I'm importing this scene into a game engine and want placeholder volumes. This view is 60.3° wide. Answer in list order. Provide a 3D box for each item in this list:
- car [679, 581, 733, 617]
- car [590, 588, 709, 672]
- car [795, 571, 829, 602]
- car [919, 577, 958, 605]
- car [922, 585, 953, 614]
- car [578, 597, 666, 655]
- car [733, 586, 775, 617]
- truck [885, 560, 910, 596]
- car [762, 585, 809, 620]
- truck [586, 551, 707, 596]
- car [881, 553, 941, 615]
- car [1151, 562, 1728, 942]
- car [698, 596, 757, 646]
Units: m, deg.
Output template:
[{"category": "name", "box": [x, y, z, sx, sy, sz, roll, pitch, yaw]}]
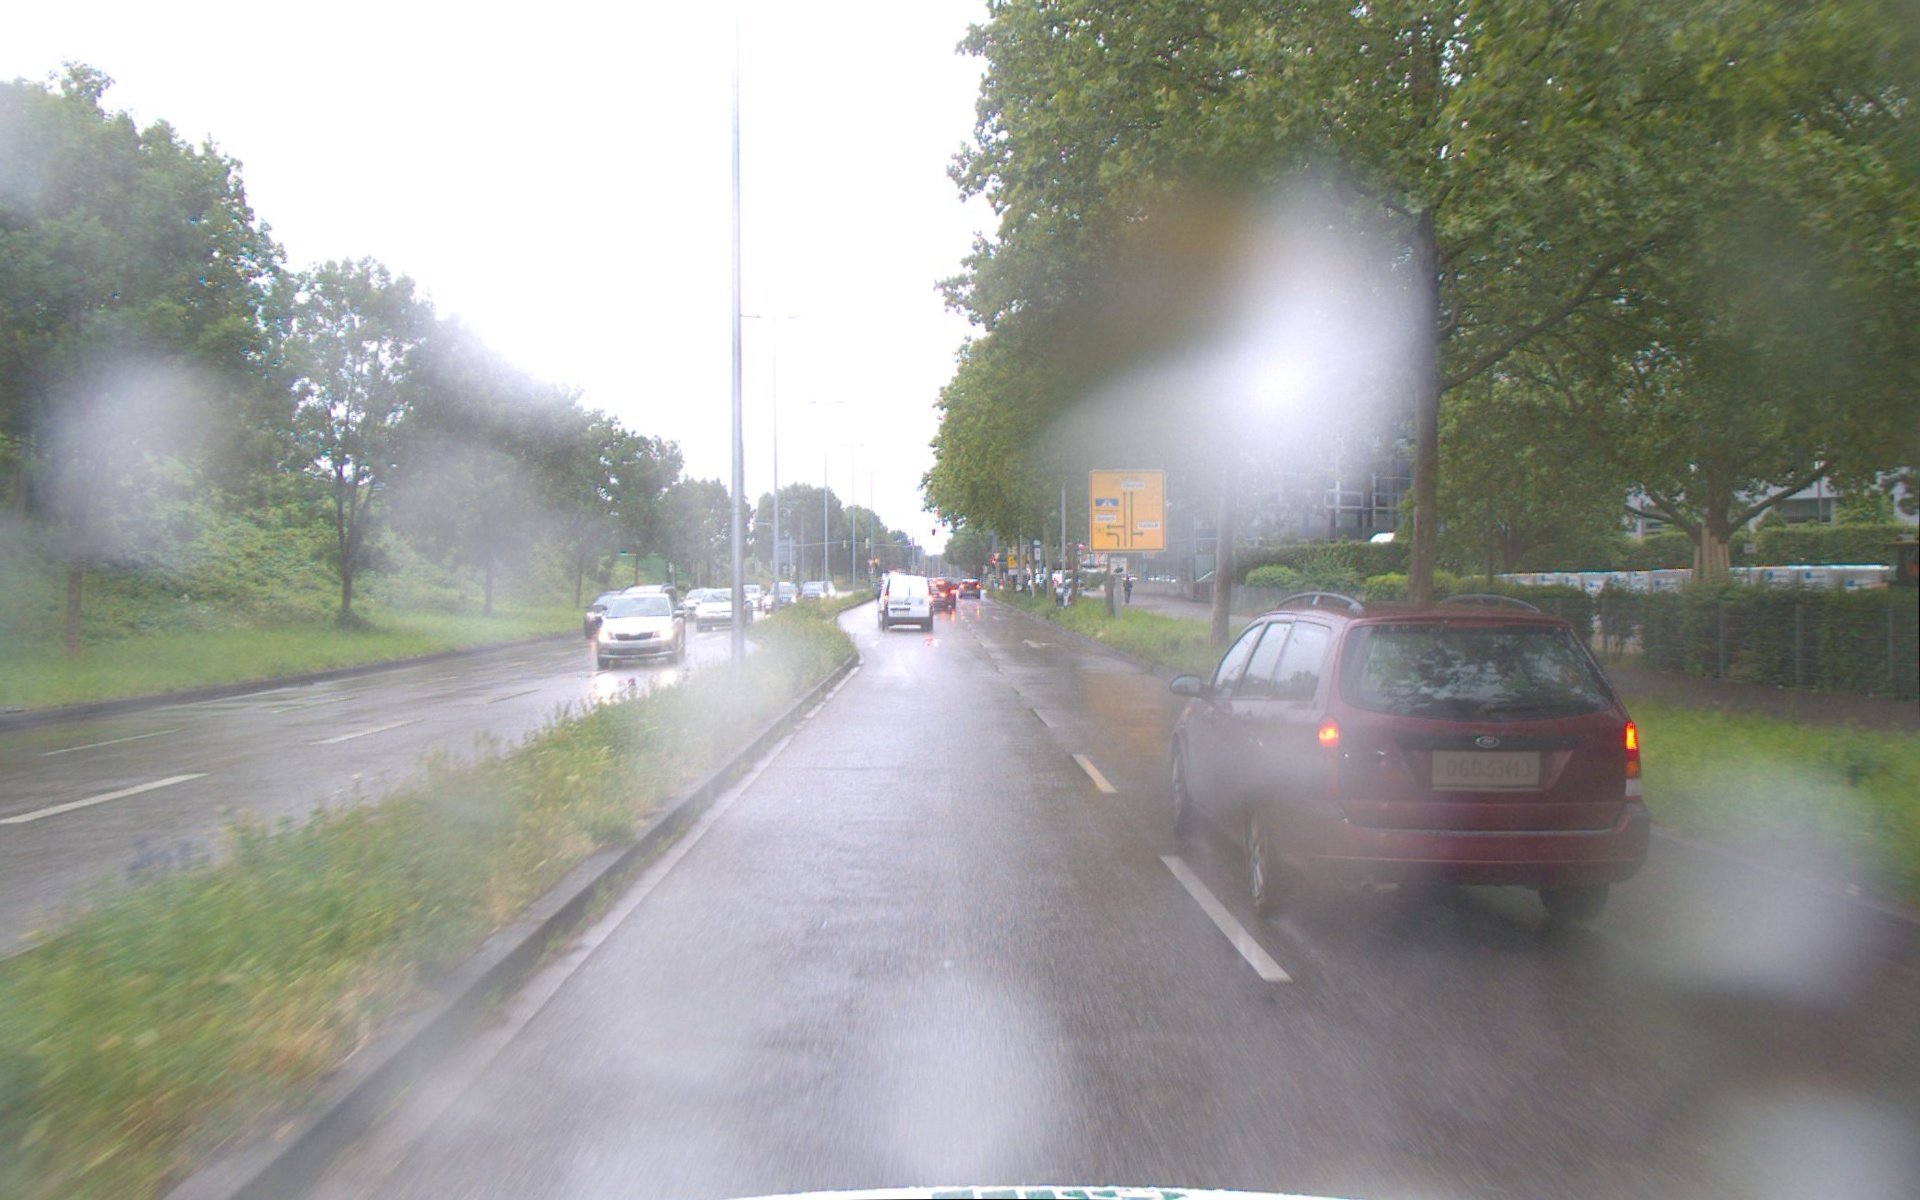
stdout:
[{"category": "car", "box": [-11.644, -0.075, 76.162, 1.798, 1.528, 4.439, -2, 1, -1]}, {"category": "car", "box": [-6.610, 0.593, 35.558, 1.860, 1.641, 4.110, -1, 0, -2]}, {"category": "car", "box": [-9.412, -0.882, 105.374, 1.787, 1.601, 4.361, 3, 4, -1]}, {"category": "car", "box": [-1.164, -0.490, 87.955, 1.953, 1.477, 3.998, 1, 0, -2]}, {"category": "car", "box": [-1.286, -0.041, 94.495, 1.674, 1.576, 3.999, 0, 2, -2]}, {"category": "car", "box": [-11.301, 0.842, 55.608, 1.953, 1.717, 4.708, -2, 1, -1]}, {"category": "car", "box": [-11.985, 0.085, 96.452, 1.870, 1.601, 4.708, -3, 1, -1]}, {"category": "truck", "box": [-4.397, -1.533, 116.169, 1.721, 2.509, 3.998, 0, 0, -2]}, {"category": "car", "box": [-8.980, 0.113, 85.524, 1.870, 1.601, 4.708, -3, 1, -1]}, {"category": "truck", "box": [-26.676, -2.209, 141.165, 10.037, 3.512, 2.622, 1, -1, -38]}, {"category": "car", "box": [-1.706, -0.522, 56.967, 1.953, 2.049, 3.998, 0, -1, -2]}, {"category": "car", "box": [2.237, 0.619, 8.927, 1.802, 1.563, 4.110, 1, 0, -2]}, {"category": "car", "box": [-8.346, 0.723, 59.705, 1.872, 1.601, 4.703, -3, 1, -6]}]
